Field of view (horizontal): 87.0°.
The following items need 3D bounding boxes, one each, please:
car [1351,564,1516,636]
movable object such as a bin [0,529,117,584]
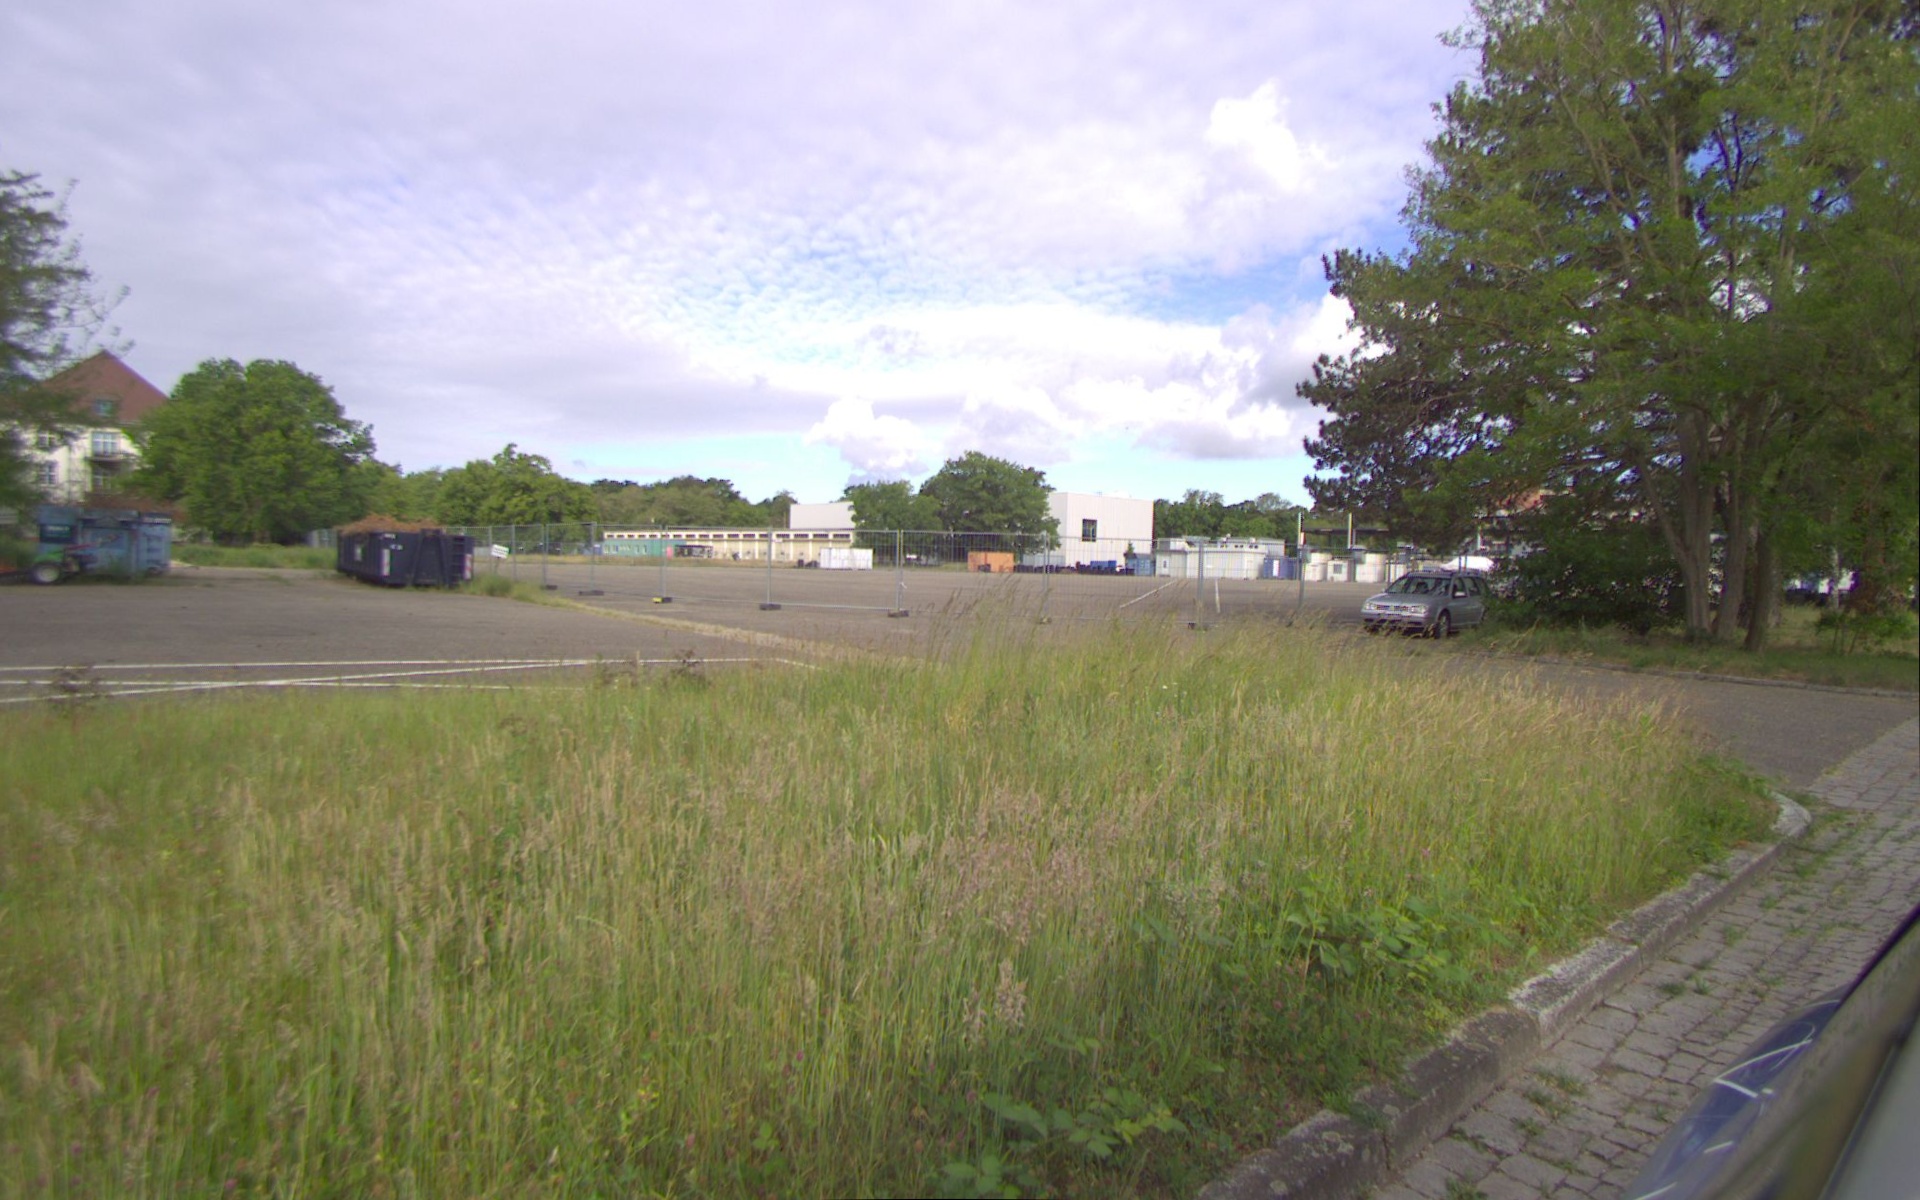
[{"bbox_3d":[10.942,-0.037,23.268,4.250,1.466,1.759,0,3,-40],"label":"car"},{"bbox_3d":[-19.798,-0.948,21.789,2.499,1.097,1.064,1,2,-42],"label":"movable object such as a bin"}]
